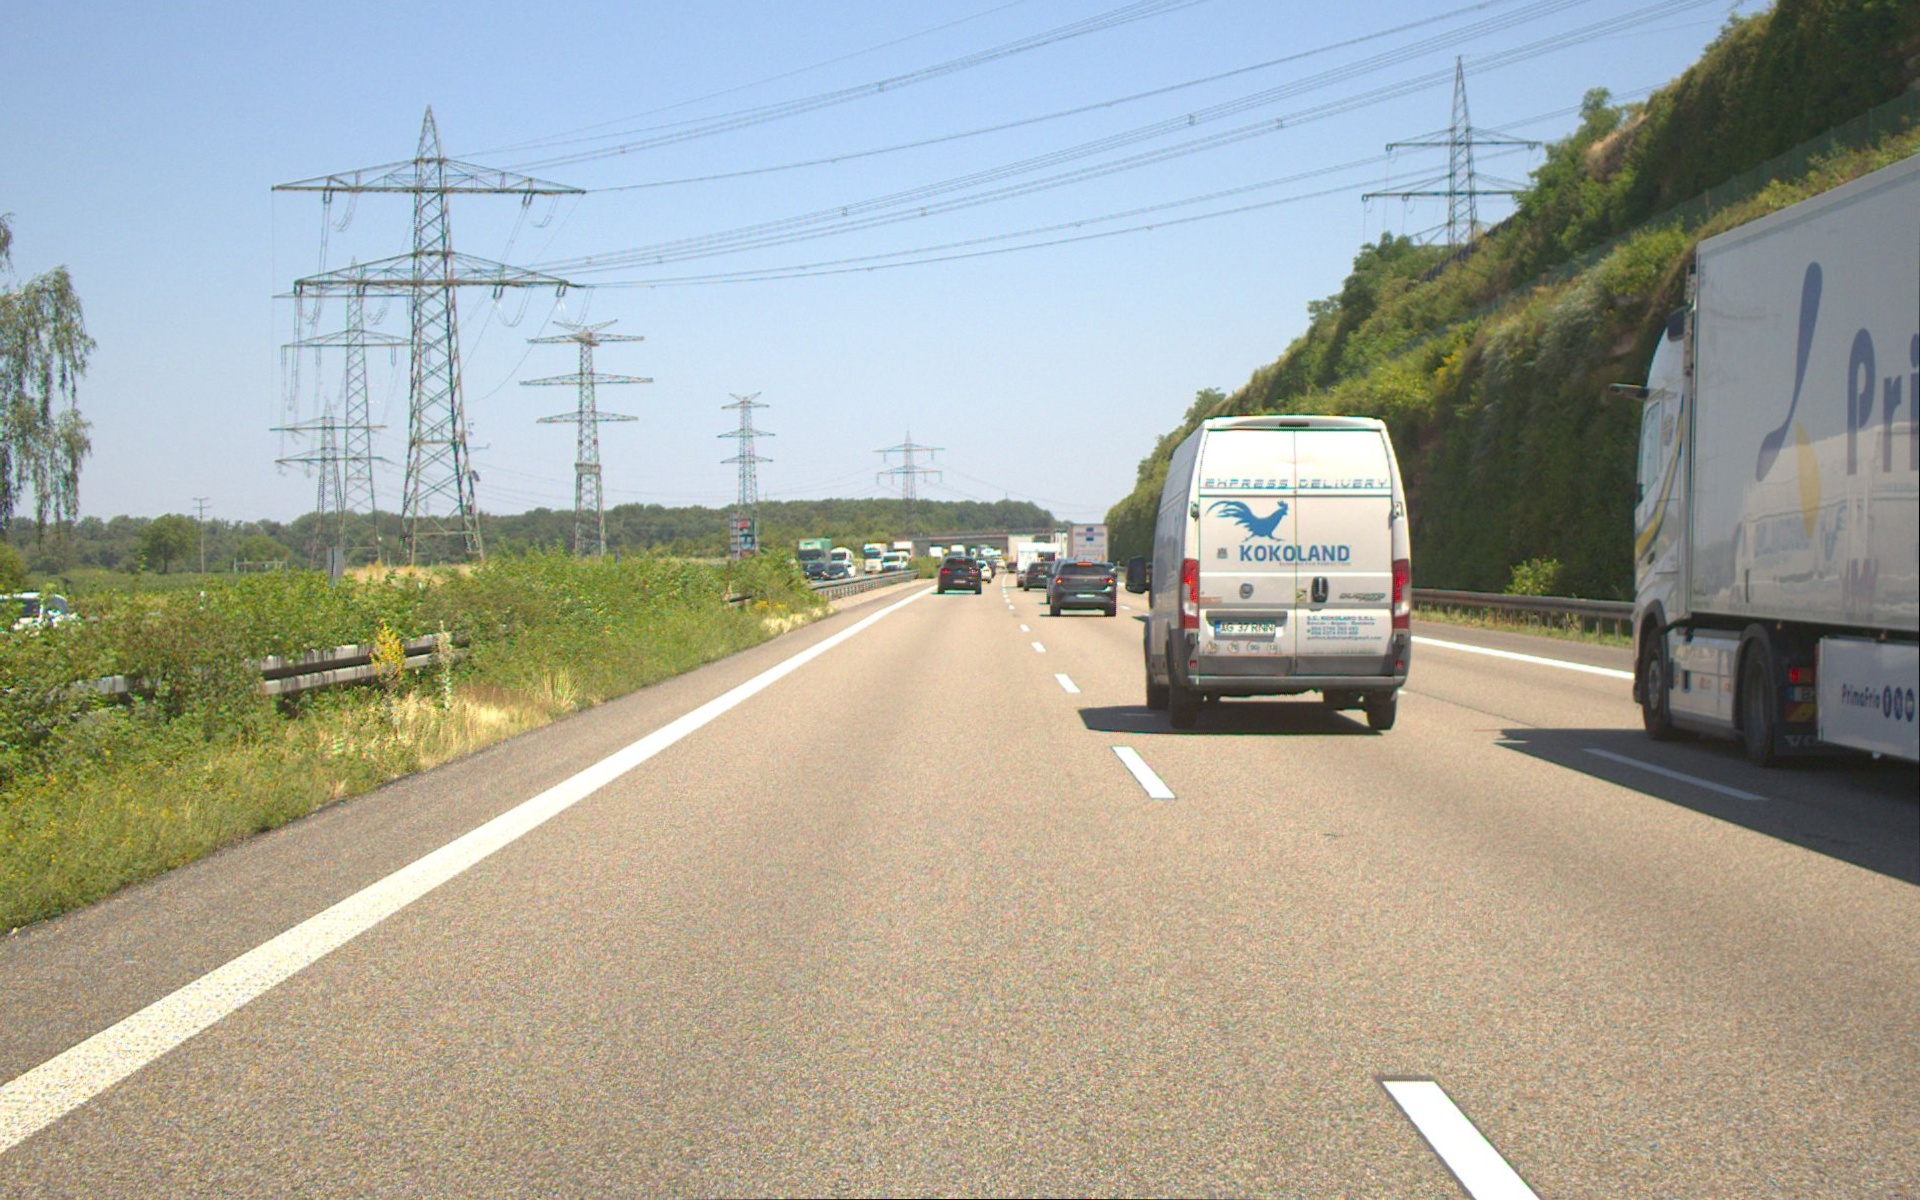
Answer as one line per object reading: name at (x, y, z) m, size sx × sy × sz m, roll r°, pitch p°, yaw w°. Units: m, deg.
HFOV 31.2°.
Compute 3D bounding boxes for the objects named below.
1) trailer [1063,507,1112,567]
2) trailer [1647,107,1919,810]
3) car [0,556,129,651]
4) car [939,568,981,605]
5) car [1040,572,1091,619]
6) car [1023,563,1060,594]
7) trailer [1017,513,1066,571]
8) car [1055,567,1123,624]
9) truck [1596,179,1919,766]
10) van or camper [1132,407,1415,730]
trailer at (9.031, -4.447, 244.511) m, size 3.183 × 4.107 × 13.431 m, roll -1°, pitch 1°, yaw 1°
trailer at (6.989, -0.838, 20.185) m, size 2.514 × 4.197 × 17.028 m, roll 0°, pitch 1°, yaw 0°
car at (-17.098, 0.038, 64.368) m, size 1.831 × 1.677 × 5.498 m, roll -1°, pitch 1°, yaw -1°
car at (0.000, -0.630, 156.885) m, size 1.830 × 1.665 × 4.000 m, roll -1°, pitch 1°, yaw 1°
car at (3.759, -0.182, 123.063) m, size 1.794 × 1.647 × 4.138 m, roll 0°, pitch 1°, yaw 1°
car at (4.118, -1.102, 172.793) m, size 1.830 × 1.520 × 4.000 m, roll -1°, pitch 1°, yaw 2°
trailer at (4.608, -3.285, 196.420) m, size 2.611 × 3.202 × 9.953 m, roll -1°, pitch 1°, yaw 1°
car at (3.570, -0.142, 95.698) m, size 1.749 × 1.520 × 3.995 m, roll 0°, pitch 1°, yaw 1°
truck at (7.014, -0.938, 27.934) m, size 2.507 × 4.205 × 6.256 m, roll 1°, pitch 1°, yaw 1°
van or camper at (2.853, -0.317, 32.841) m, size 2.096 × 2.759 × 6.757 m, roll 0°, pitch 1°, yaw 0°
